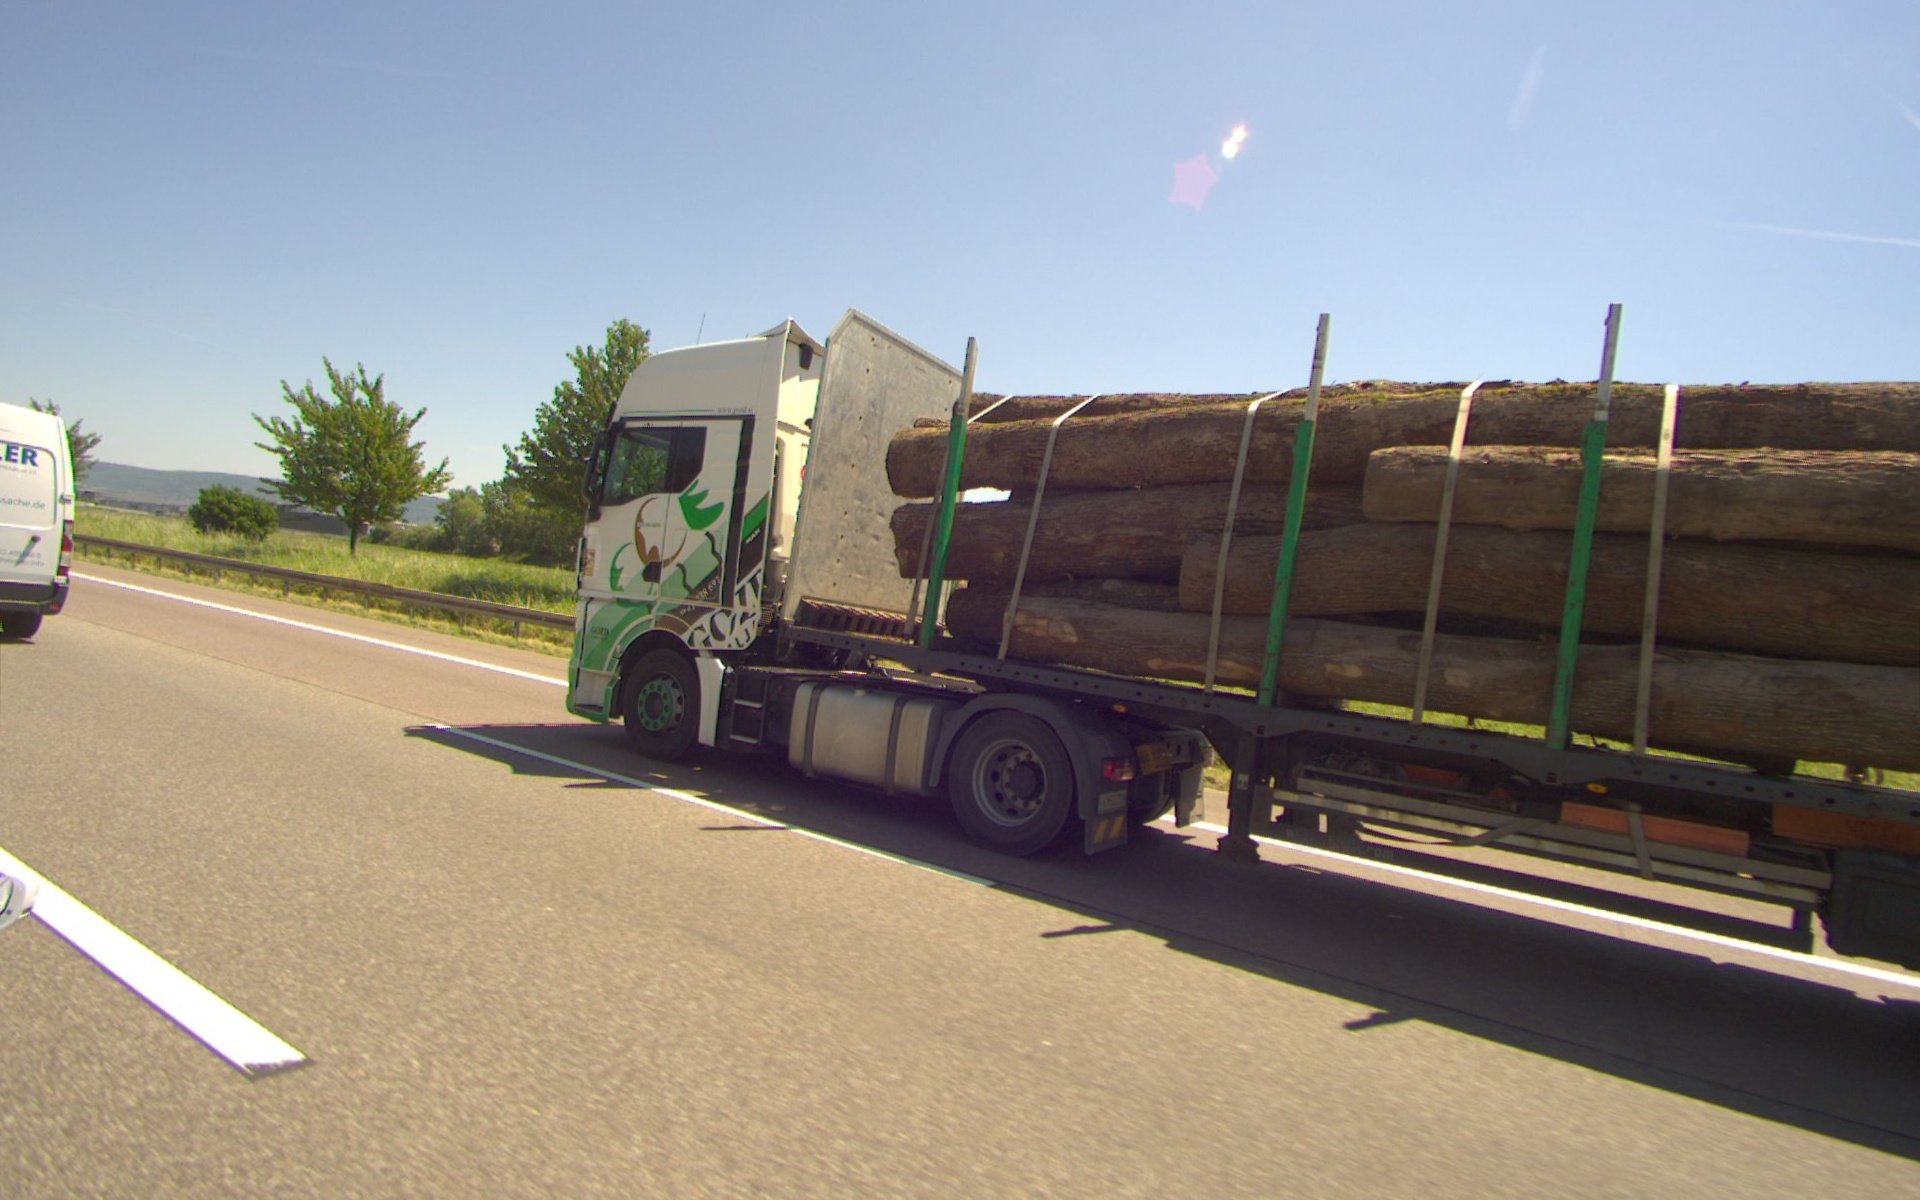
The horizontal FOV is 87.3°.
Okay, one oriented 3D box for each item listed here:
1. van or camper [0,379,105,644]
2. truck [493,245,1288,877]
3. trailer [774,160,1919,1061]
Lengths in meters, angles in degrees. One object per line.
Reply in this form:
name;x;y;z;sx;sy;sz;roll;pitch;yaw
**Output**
van or camper;-12.420;-1.235;11.556;5.886;2.653;2.061;7;-1;32
truck;-0.869;-0.463;9.246;6.526;4.042;2.674;7;-1;32
trailer;5.112;0.146;5.525;13.410;4.005;2.657;7;-1;32
